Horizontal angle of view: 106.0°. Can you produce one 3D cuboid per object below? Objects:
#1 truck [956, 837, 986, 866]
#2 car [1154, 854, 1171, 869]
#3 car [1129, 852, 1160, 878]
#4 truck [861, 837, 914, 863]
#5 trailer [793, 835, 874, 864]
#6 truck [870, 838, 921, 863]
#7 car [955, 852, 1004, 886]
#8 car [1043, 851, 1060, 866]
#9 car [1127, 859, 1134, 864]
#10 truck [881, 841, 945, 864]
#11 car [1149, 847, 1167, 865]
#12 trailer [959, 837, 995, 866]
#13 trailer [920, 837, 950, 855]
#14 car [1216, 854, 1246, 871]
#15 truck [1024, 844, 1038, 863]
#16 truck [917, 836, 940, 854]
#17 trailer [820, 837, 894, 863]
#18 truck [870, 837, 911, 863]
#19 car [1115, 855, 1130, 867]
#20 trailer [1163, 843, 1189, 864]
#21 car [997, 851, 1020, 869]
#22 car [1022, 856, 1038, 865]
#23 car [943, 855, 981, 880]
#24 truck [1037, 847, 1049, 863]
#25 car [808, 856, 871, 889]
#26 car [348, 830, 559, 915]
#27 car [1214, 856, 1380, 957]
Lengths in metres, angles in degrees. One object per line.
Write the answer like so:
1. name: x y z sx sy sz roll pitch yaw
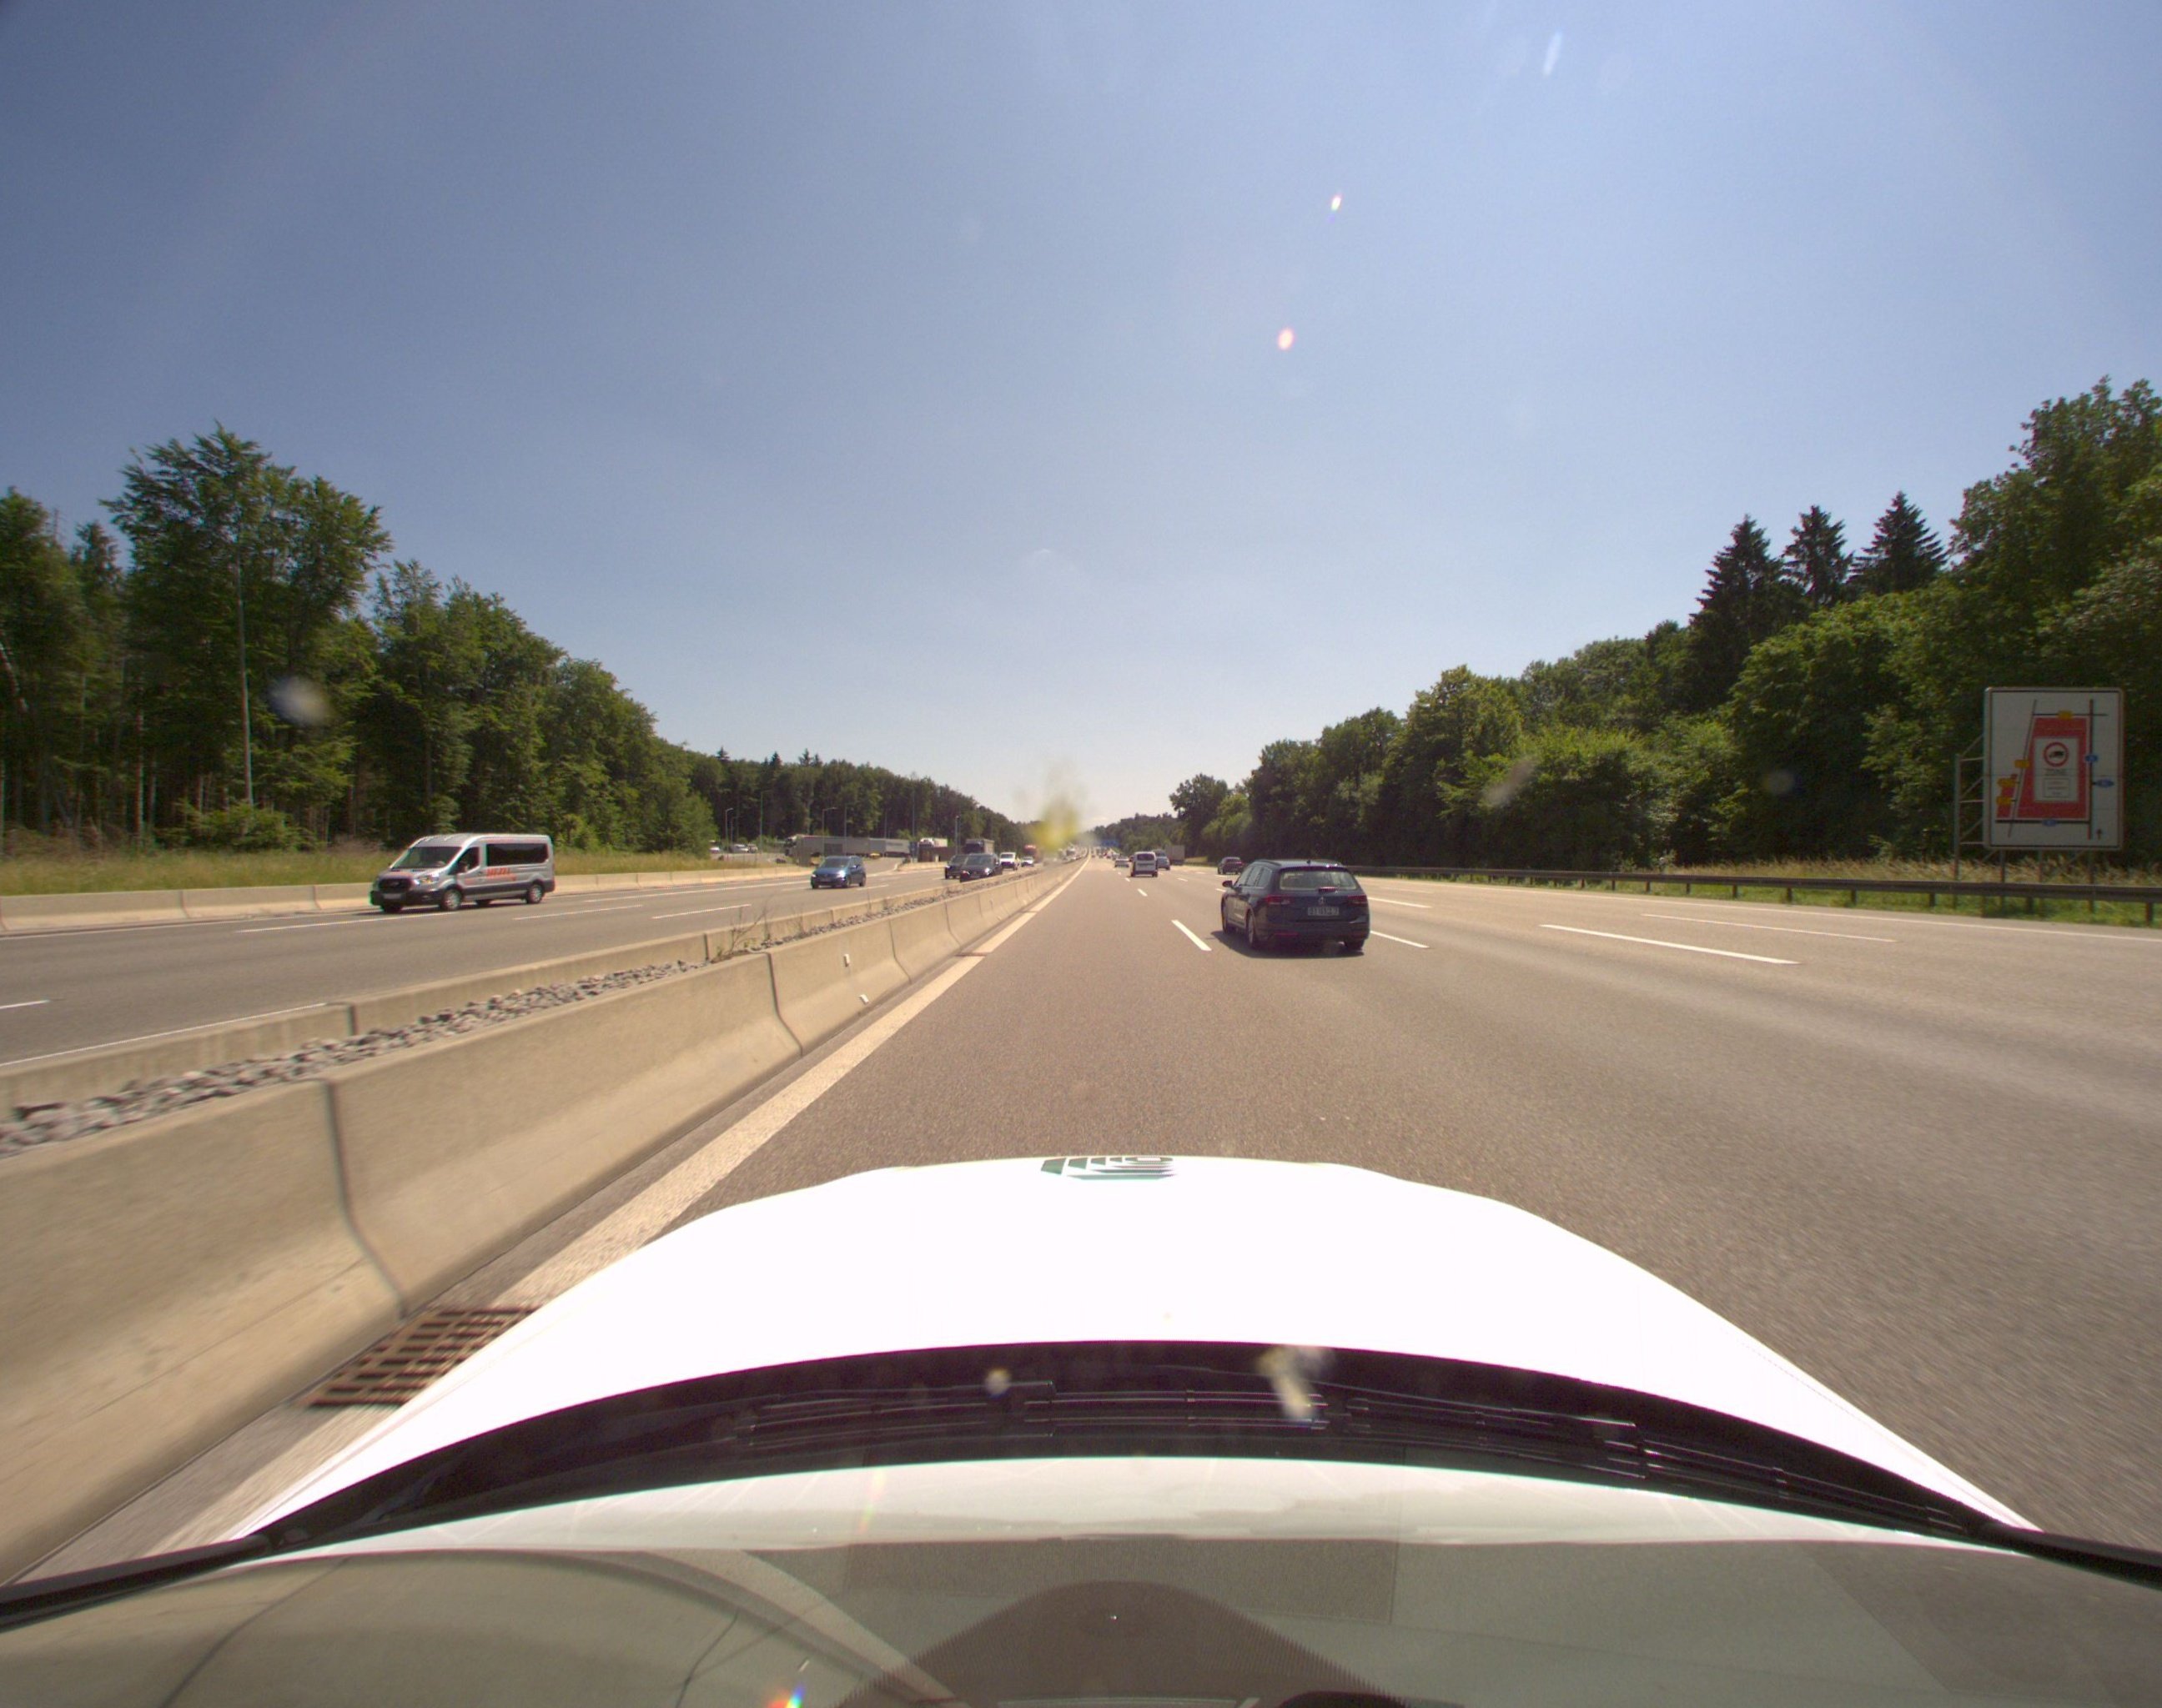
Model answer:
1. truck: -15.290 -0.336 113.495 3.276 3.931 5.539 0 0 0
2. car: 8.787 0.809 87.969 1.498 1.500 3.650 0 0 1
3. car: 4.573 0.803 59.191 1.854 1.826 4.611 0 0 0
4. truck: -43.519 -0.810 183.538 3.188 5.613 11.604 0 0 45
5. trailer: -45.934 -0.736 151.705 3.091 5.072 14.651 0 0 45
6. truck: -43.030 -0.774 189.047 3.188 5.613 11.604 0 0 45
7. car: -5.312 0.775 43.266 1.843 1.677 5.046 -1 0 1
8. car: -3.888 0.610 109.284 2.070 2.044 5.711 0 0 0
9. car: 14.371 2.098 234.263 1.829 1.338 3.643 0 0 0
10. truck: -42.825 -0.385 208.718 16.806 5.613 3.408 1 0 -45
11. car: 11.513 0.264 121.792 2.136 2.652 5.710 1 1 1
12. trailer: -15.187 -0.333 120.102 3.331 4.001 14.279 0 0 1
13. trailer: -28.171 -1.460 157.503 2.962 3.124 14.609 0 0 1
14. car: 12.334 0.694 67.189 1.665 1.273 4.290 1 0 1
15. truck: -10.703 -0.015 175.720 2.519 4.049 6.472 0 0 1
16. truck: -28.194 -1.581 150.564 2.917 3.124 6.202 0 0 0
17. trailer: -44.672 -0.665 162.953 3.184 5.072 14.651 0 0 45
18. truck: -42.071 -0.828 180.188 3.188 5.613 8.537 0 -1 45
19. car: 5.382 0.918 106.696 1.837 1.629 4.553 0 0 1
20. trailer: 18.373 -0.175 158.909 3.277 3.930 13.889 2 1 0
21. car: -8.063 0.694 91.235 1.986 2.014 5.131 0 0 1
22. car: -7.579 0.935 120.820 1.986 1.377 5.012 0 0 1
23. car: -8.480 0.915 58.294 1.821 1.699 5.004 -1 0 1
24. truck: -9.471 0.312 203.092 2.725 4.031 6.781 0 0 1
25. car: -12.318 0.909 41.889 1.723 1.570 4.674 -1 0 1
26. car: -20.061 0.548 26.560 1.942 2.412 6.344 -1 0 0
27. car: 3.553 0.769 14.377 1.723 1.447 4.962 -1 0 1
